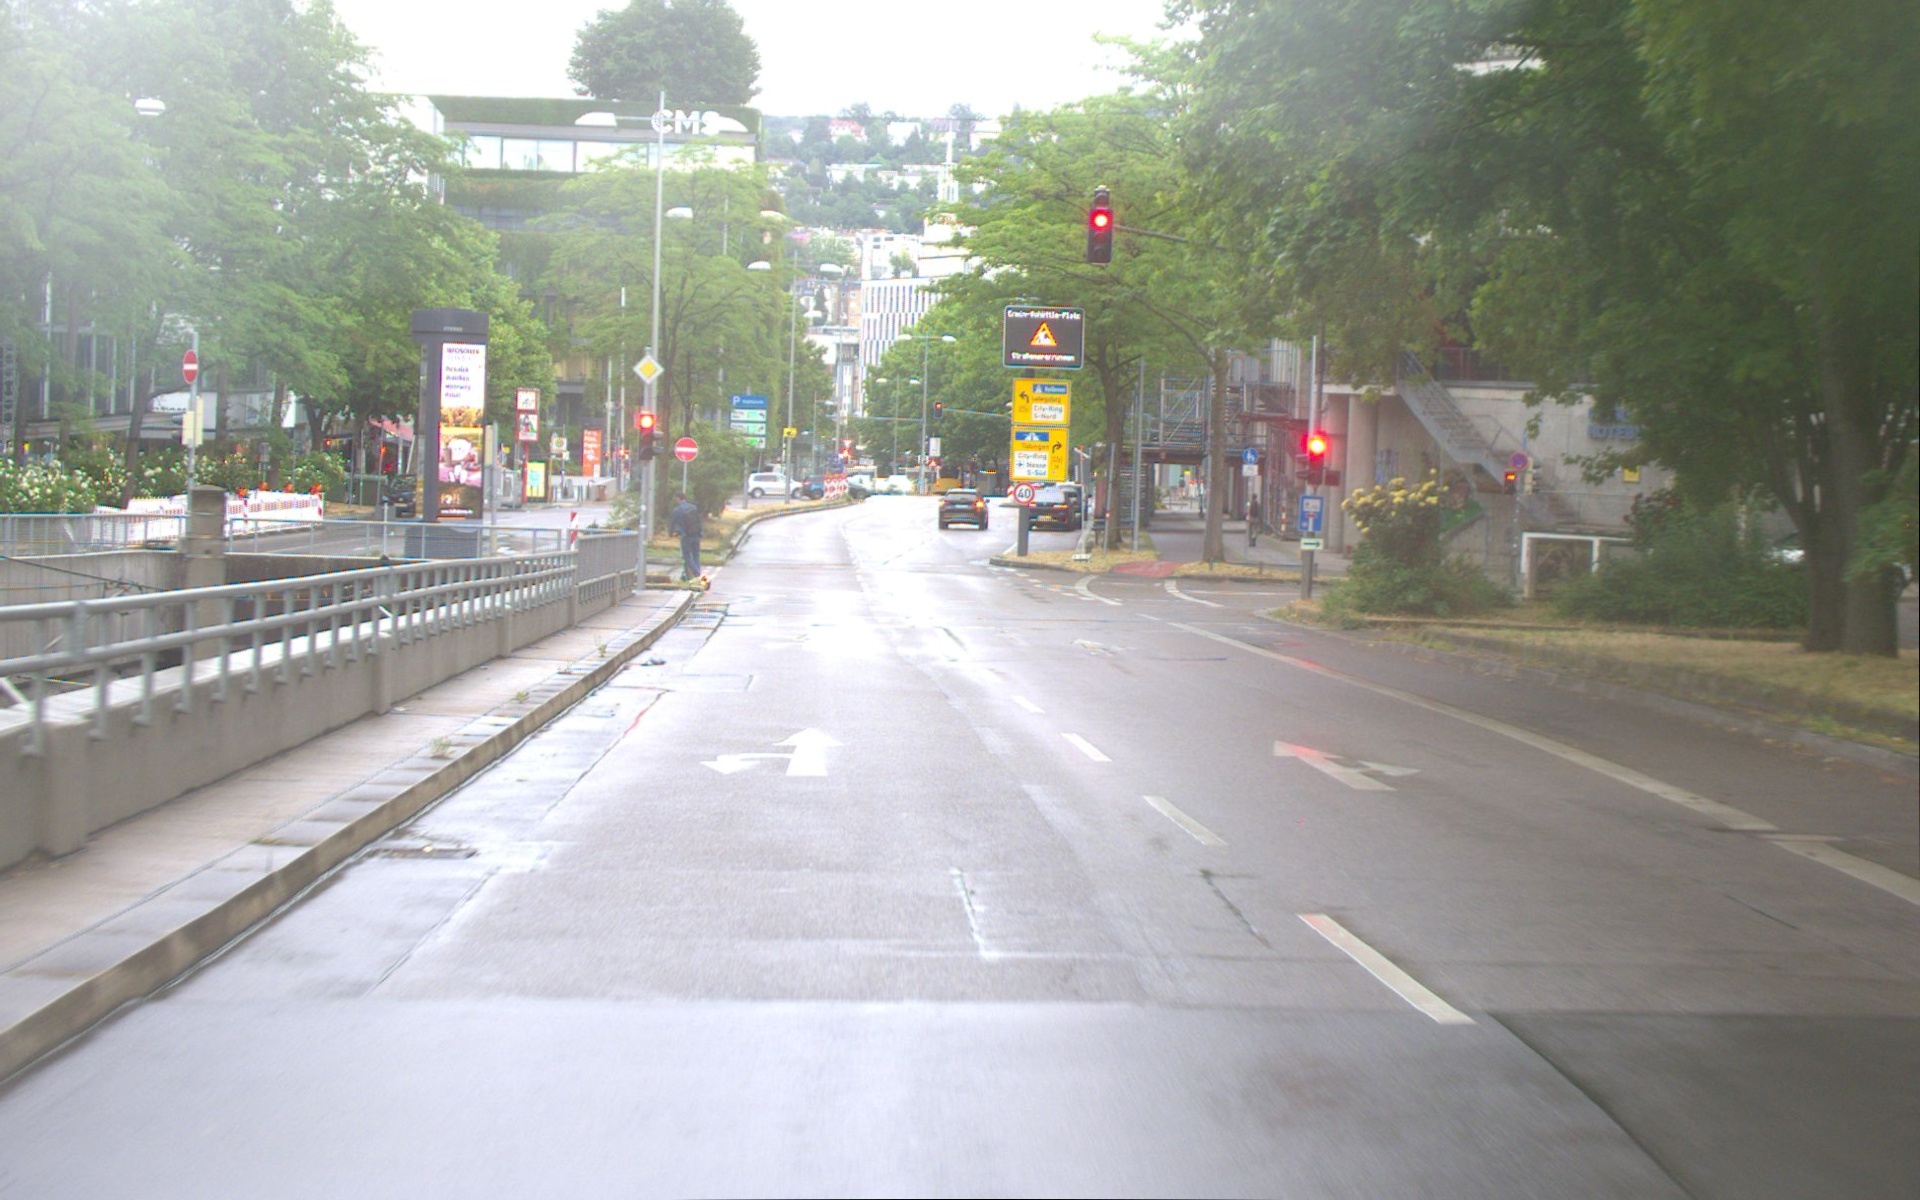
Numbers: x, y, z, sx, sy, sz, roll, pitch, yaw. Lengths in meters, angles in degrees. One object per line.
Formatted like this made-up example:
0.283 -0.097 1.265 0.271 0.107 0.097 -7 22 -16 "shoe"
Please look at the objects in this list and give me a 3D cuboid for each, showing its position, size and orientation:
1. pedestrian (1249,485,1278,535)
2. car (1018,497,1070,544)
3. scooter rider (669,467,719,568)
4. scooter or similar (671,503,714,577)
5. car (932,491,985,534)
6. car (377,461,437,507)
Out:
9.684 -2.862 109.793 0.786 1.552 0.533 3 1 0 "pedestrian"
3.228 -3.047 131.645 1.901 1.678 3.911 3 2 2 "car"
-5.253 -1.633 67.807 0.808 1.941 0.823 2 2 -12 "scooter rider"
-5.293 -1.191 67.918 0.546 1.413 1.956 2 2 -12 "scooter or similar"
-0.071 -3.327 130.012 1.746 1.514 4.107 2 2 -3 "car"
-20.995 -4.421 130.537 1.780 1.550 3.894 3 4 -3 "car"
